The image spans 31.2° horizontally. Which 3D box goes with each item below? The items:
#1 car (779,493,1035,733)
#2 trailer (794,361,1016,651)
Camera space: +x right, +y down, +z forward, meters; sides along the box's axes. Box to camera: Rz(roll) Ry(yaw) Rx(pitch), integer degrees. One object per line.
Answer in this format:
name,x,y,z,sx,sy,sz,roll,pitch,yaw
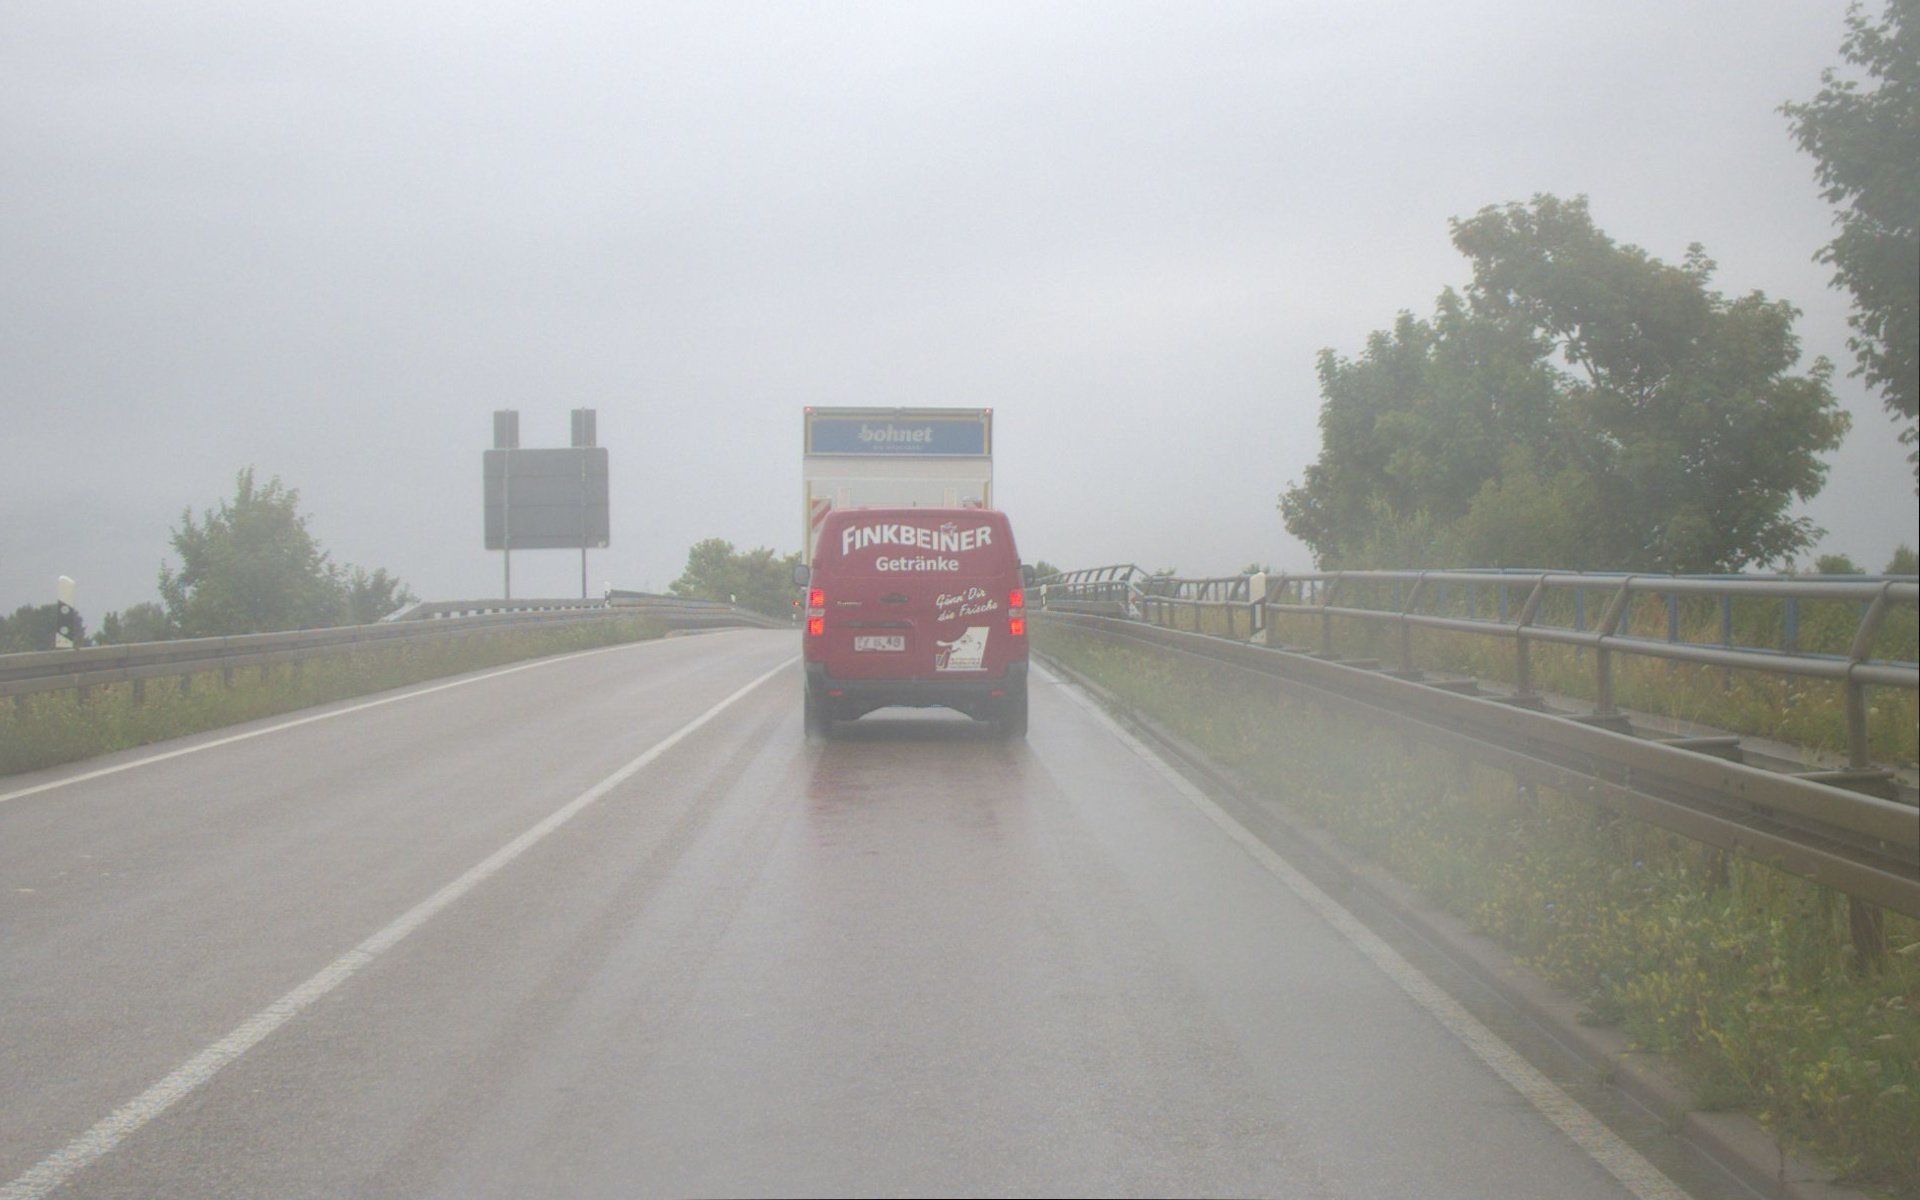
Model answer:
car,-0.384,0.082,29.867,1.993,1.864,4.978,-1,0,1
trailer,-0.649,-1.249,50.464,2.832,3.806,9.714,-1,0,1
